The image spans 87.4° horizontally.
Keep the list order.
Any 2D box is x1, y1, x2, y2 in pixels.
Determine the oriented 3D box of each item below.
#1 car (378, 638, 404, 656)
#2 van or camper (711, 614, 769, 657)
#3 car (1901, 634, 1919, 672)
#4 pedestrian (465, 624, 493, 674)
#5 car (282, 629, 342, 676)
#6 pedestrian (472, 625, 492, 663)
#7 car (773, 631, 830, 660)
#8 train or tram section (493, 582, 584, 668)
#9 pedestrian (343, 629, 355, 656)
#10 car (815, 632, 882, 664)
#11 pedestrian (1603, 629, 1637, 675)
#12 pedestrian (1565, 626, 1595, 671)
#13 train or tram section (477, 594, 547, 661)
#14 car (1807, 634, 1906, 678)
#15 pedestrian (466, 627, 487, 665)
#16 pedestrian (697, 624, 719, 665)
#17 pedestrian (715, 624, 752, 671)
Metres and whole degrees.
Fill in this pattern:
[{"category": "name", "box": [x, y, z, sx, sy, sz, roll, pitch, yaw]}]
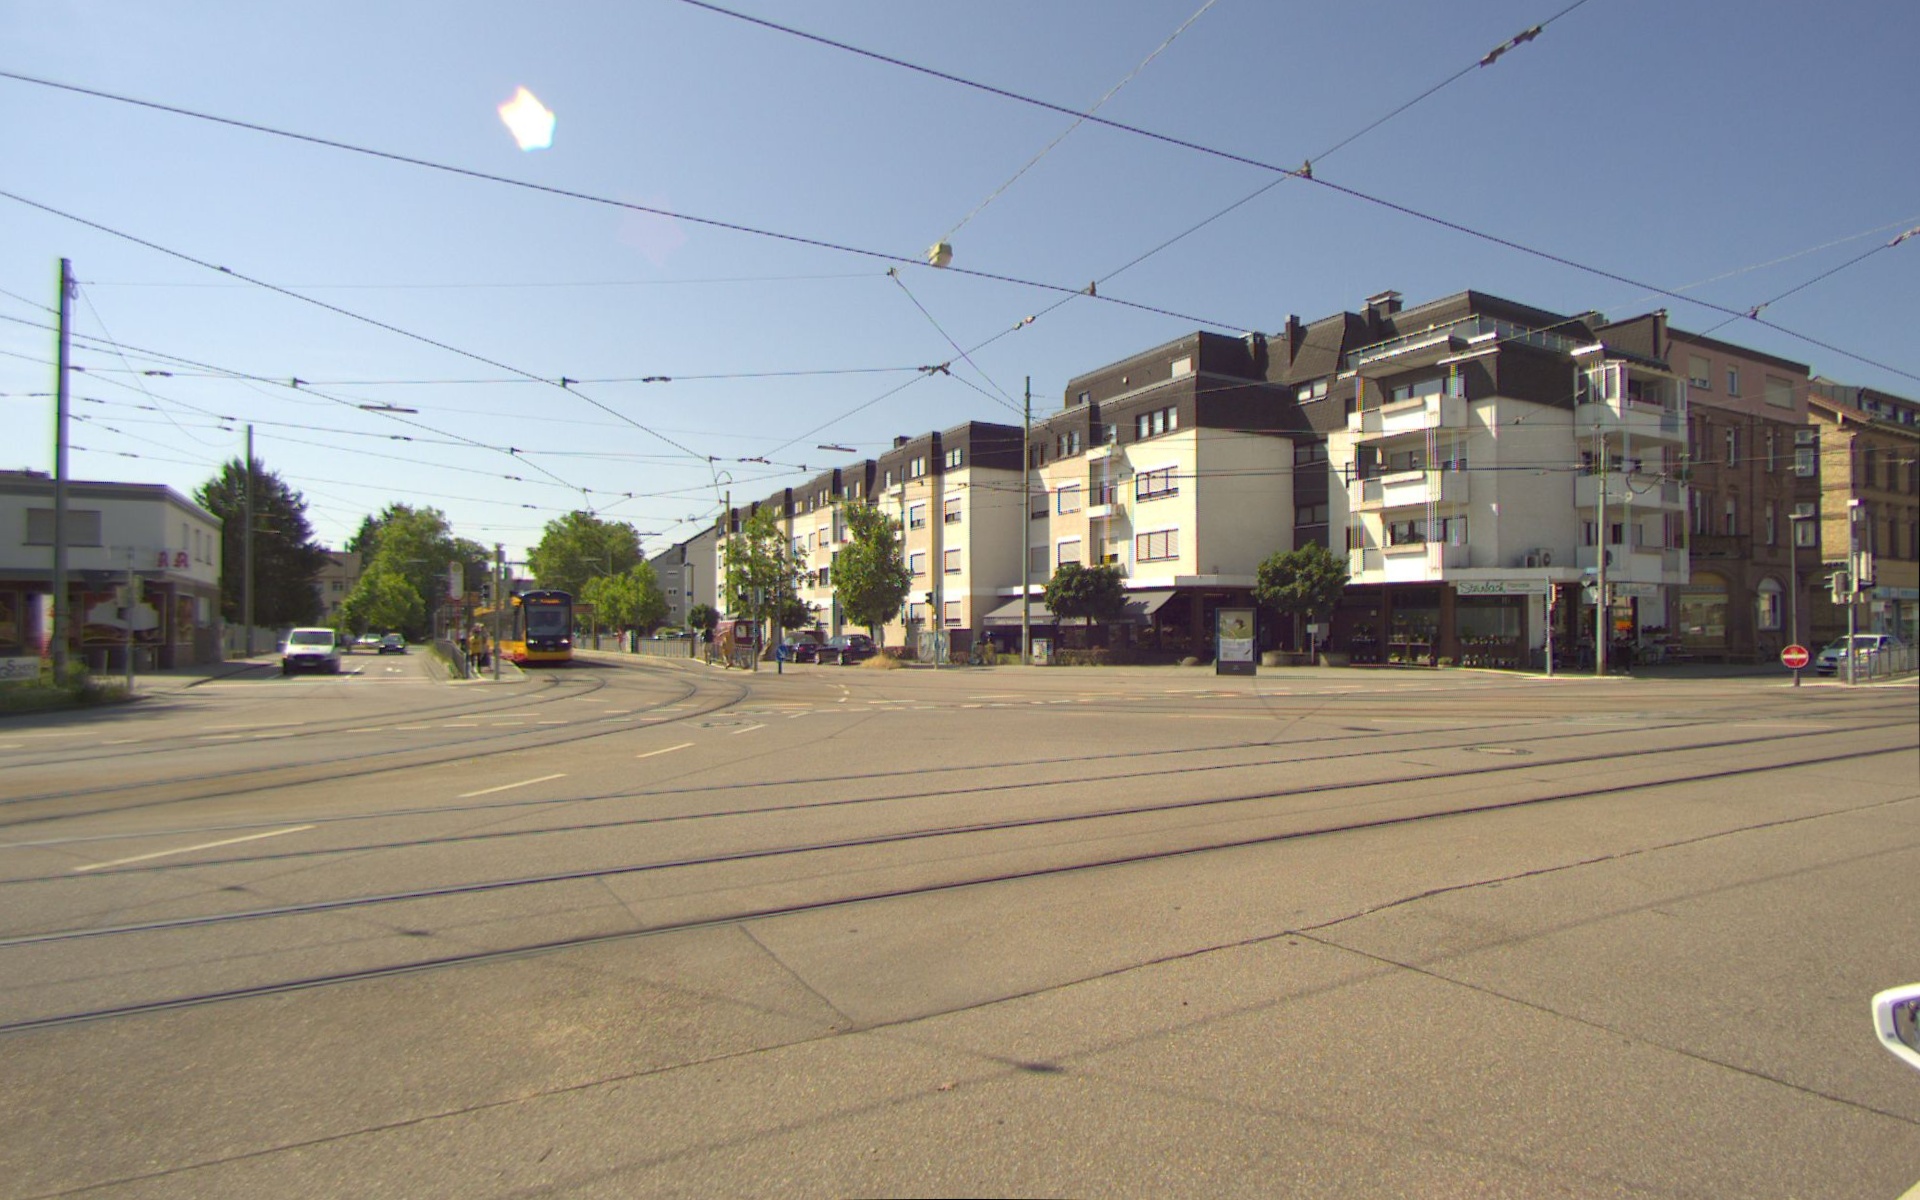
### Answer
[{"category": "car", "box": [-45.869, 3.768, 81.019, 1.737, 1.460, 3.971, 1, -2, -29]}, {"category": "van or camper", "box": [-14.235, 2.307, 64.836, 2.348, 2.659, 4.853, 1, -2, -30]}, {"category": "car", "box": [39.030, 2.086, 39.883, 3.773, 1.478, 1.564, 1, -2, -33]}, {"category": "pedestrian", "box": [-18.505, 1.871, 38.654, 0.885, 1.862, 1.193, 1, -2, -29]}, {"category": "car", "box": [-27.477, 2.196, 42.713, 1.755, 1.886, 4.626, 1, -2, -29]}, {"category": "pedestrian", "box": [-20.846, 1.920, 43.806, 0.775, 1.648, 0.655, 1, -2, -29]}, {"category": "car", "box": [-8.683, 2.461, 54.803, 1.806, 1.520, 3.969, 1, -2, -29]}, {"category": "train or tram section", "box": [-21.248, 1.321, 50.039, 2.735, 3.706, 13.804, 1, -2, -29]}, {"category": "pedestrian", "box": [-46.574, 3.247, 76.564, 0.759, 1.991, 0.855, 1, -2, -31]}, {"category": "car", "box": [-5.529, 2.327, 49.500, 1.806, 1.520, 4.154, 1, -2, -29]}, {"category": "pedestrian", "box": [24.396, 1.904, 37.131, 0.674, 1.669, 0.872, 1, -2, -37]}, {"category": "pedestrian", "box": [23.404, 1.837, 37.913, 0.723, 1.669, 0.675, 1, -2, -30]}, {"category": "train or tram section", "box": [-27.892, 1.757, 62.134, 2.735, 3.706, 13.804, 1, -2, -29]}, {"category": "car", "box": [32.302, 1.982, 36.164, 3.918, 1.450, 1.617, 1, -1, -31]}, {"category": "pedestrian", "box": [-22.225, 2.109, 46.136, 0.803, 1.702, 1.086, 1, -2, -29]}, {"category": "pedestrian", "box": [-10.949, 1.933, 43.638, 0.754, 1.783, 0.806, 1, -2, -27]}, {"category": "pedestrian", "box": [-9.095, 1.894, 40.305, 1.110, 1.860, 1.428, 1, -2, -30]}]
